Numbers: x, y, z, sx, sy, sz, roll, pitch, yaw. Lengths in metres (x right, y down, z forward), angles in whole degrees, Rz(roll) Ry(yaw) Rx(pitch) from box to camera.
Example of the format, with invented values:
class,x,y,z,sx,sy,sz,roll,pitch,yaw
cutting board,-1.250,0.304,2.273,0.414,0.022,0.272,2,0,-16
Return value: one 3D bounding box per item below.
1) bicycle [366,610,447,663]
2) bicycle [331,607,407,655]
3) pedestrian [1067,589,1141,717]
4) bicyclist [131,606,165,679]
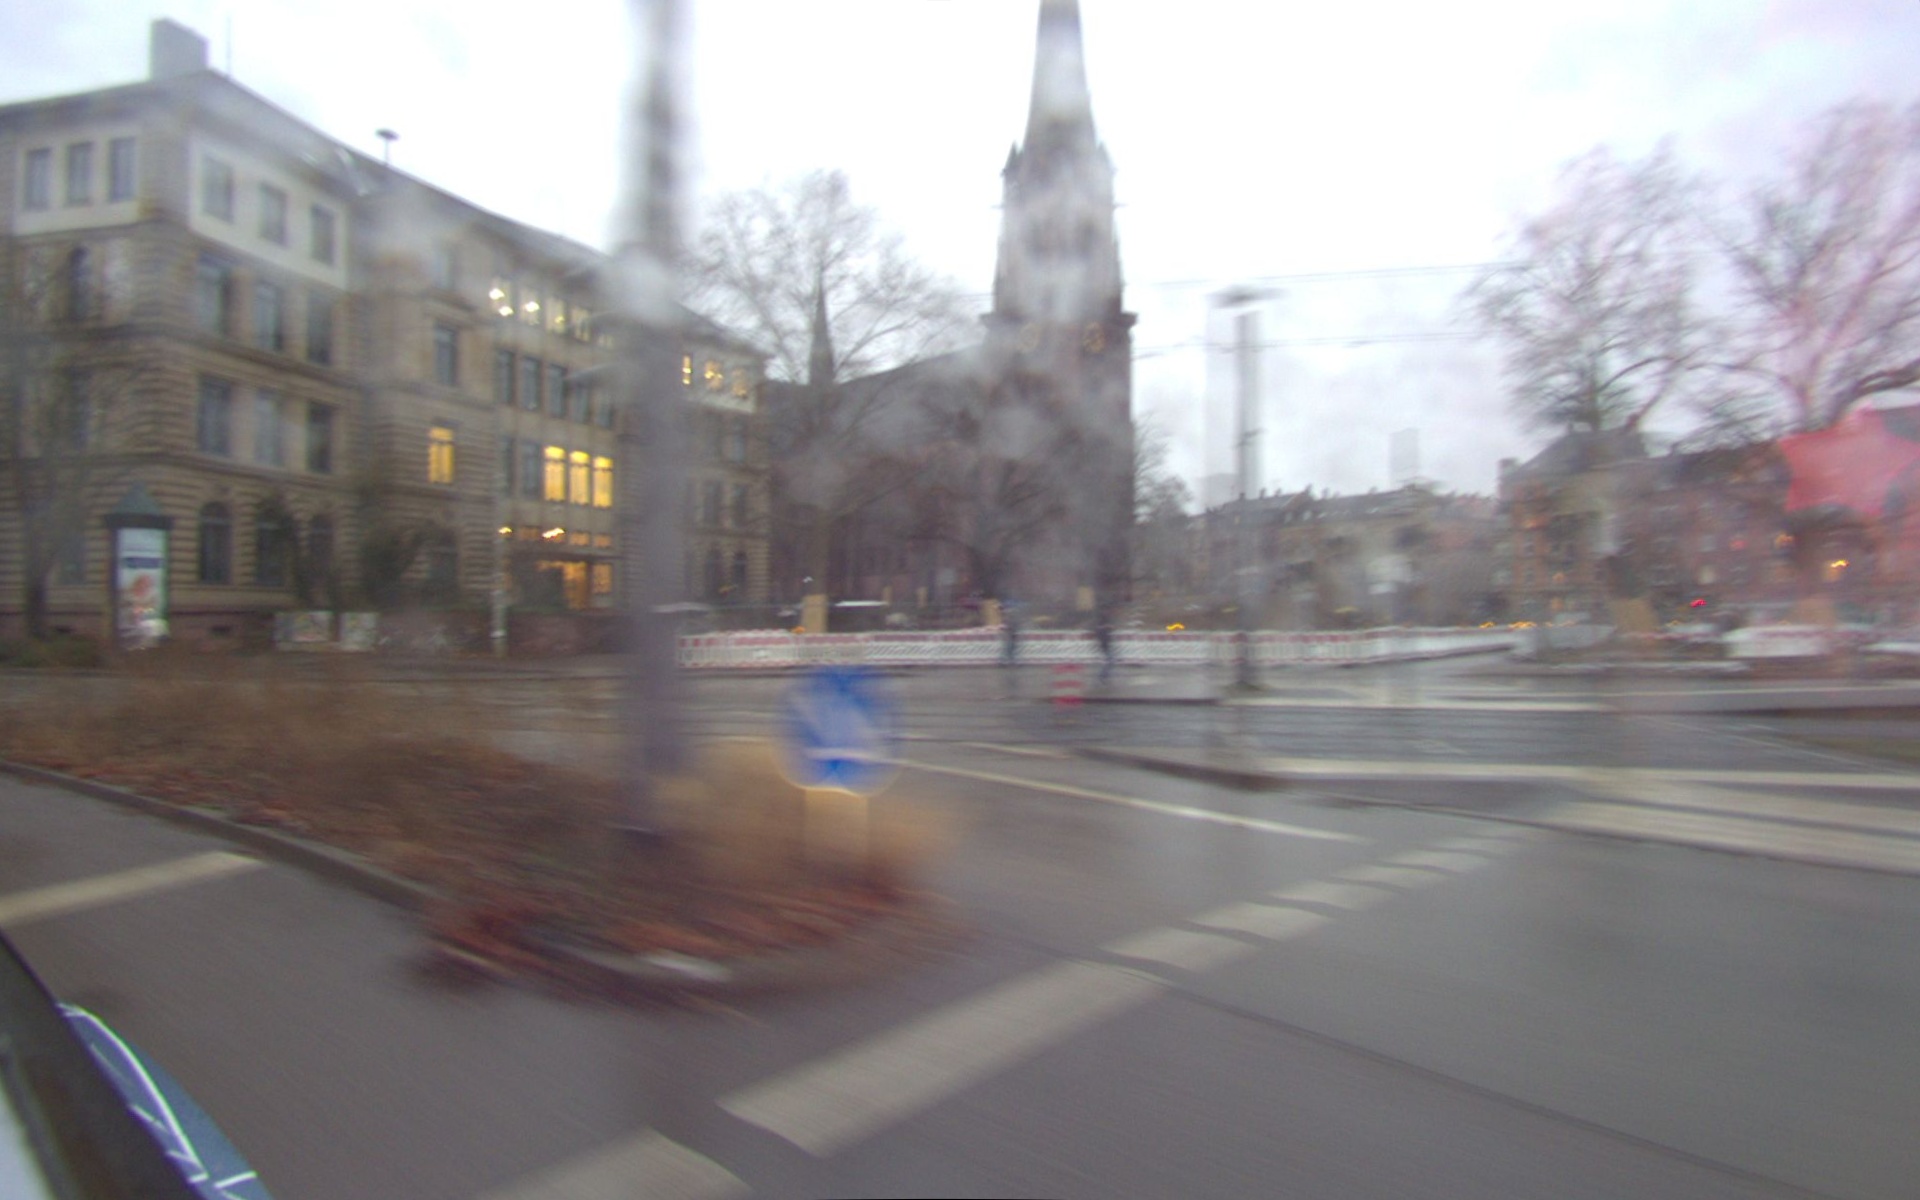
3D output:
class,x,y,z,sx,sy,sz,roll,pitch,yaw
bicycle,-18.838,1.232,34.485,2.387,1.701,0.716,-1,1,-27
bicycle,-22.037,1.125,37.779,2.387,1.701,0.716,-1,1,-27
pedestrian,2.805,0.996,19.718,1.064,2.388,0.983,1,2,42
bicyclist,-20.323,1.055,25.337,0.602,1.781,0.591,-1,1,-35
